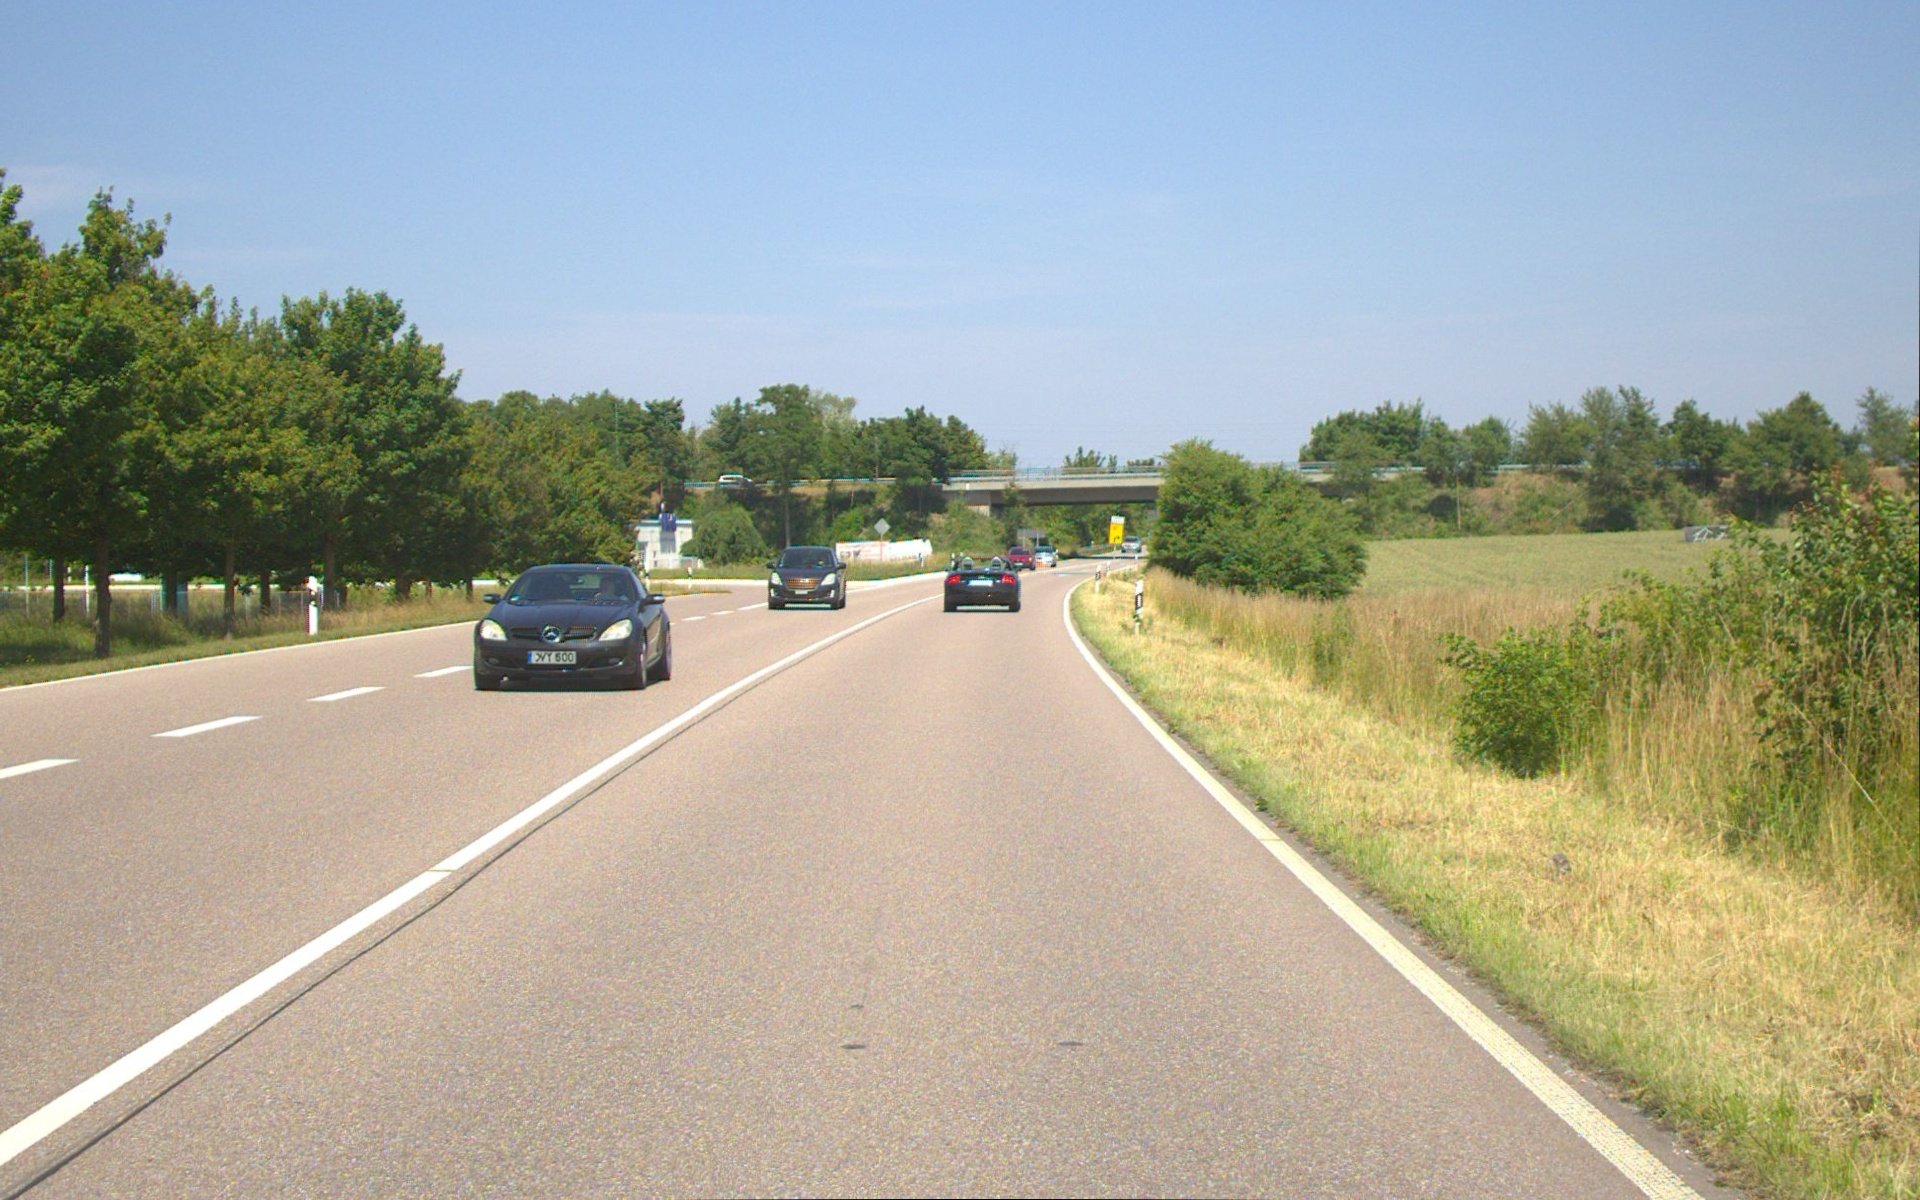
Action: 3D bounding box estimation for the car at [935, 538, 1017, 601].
[{"bbox_3d":[0.358,-0.724,80.633,1.814,1.436,4.000,1,1,-1],"label":"car"}]

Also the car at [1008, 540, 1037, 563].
[{"bbox_3d":[3.835,-3.021,212.710,1.742,1.407,4.625,1,1,1],"label":"car"}]

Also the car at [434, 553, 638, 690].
[{"bbox_3d":[-4.154,0.174,34.145,1.636,1.264,3.812,0,1,-1],"label":"car"}]

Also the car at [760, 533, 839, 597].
[{"bbox_3d":[-3.850,-0.865,82.946,1.680,1.494,3.886,0,1,1],"label":"car"}]
